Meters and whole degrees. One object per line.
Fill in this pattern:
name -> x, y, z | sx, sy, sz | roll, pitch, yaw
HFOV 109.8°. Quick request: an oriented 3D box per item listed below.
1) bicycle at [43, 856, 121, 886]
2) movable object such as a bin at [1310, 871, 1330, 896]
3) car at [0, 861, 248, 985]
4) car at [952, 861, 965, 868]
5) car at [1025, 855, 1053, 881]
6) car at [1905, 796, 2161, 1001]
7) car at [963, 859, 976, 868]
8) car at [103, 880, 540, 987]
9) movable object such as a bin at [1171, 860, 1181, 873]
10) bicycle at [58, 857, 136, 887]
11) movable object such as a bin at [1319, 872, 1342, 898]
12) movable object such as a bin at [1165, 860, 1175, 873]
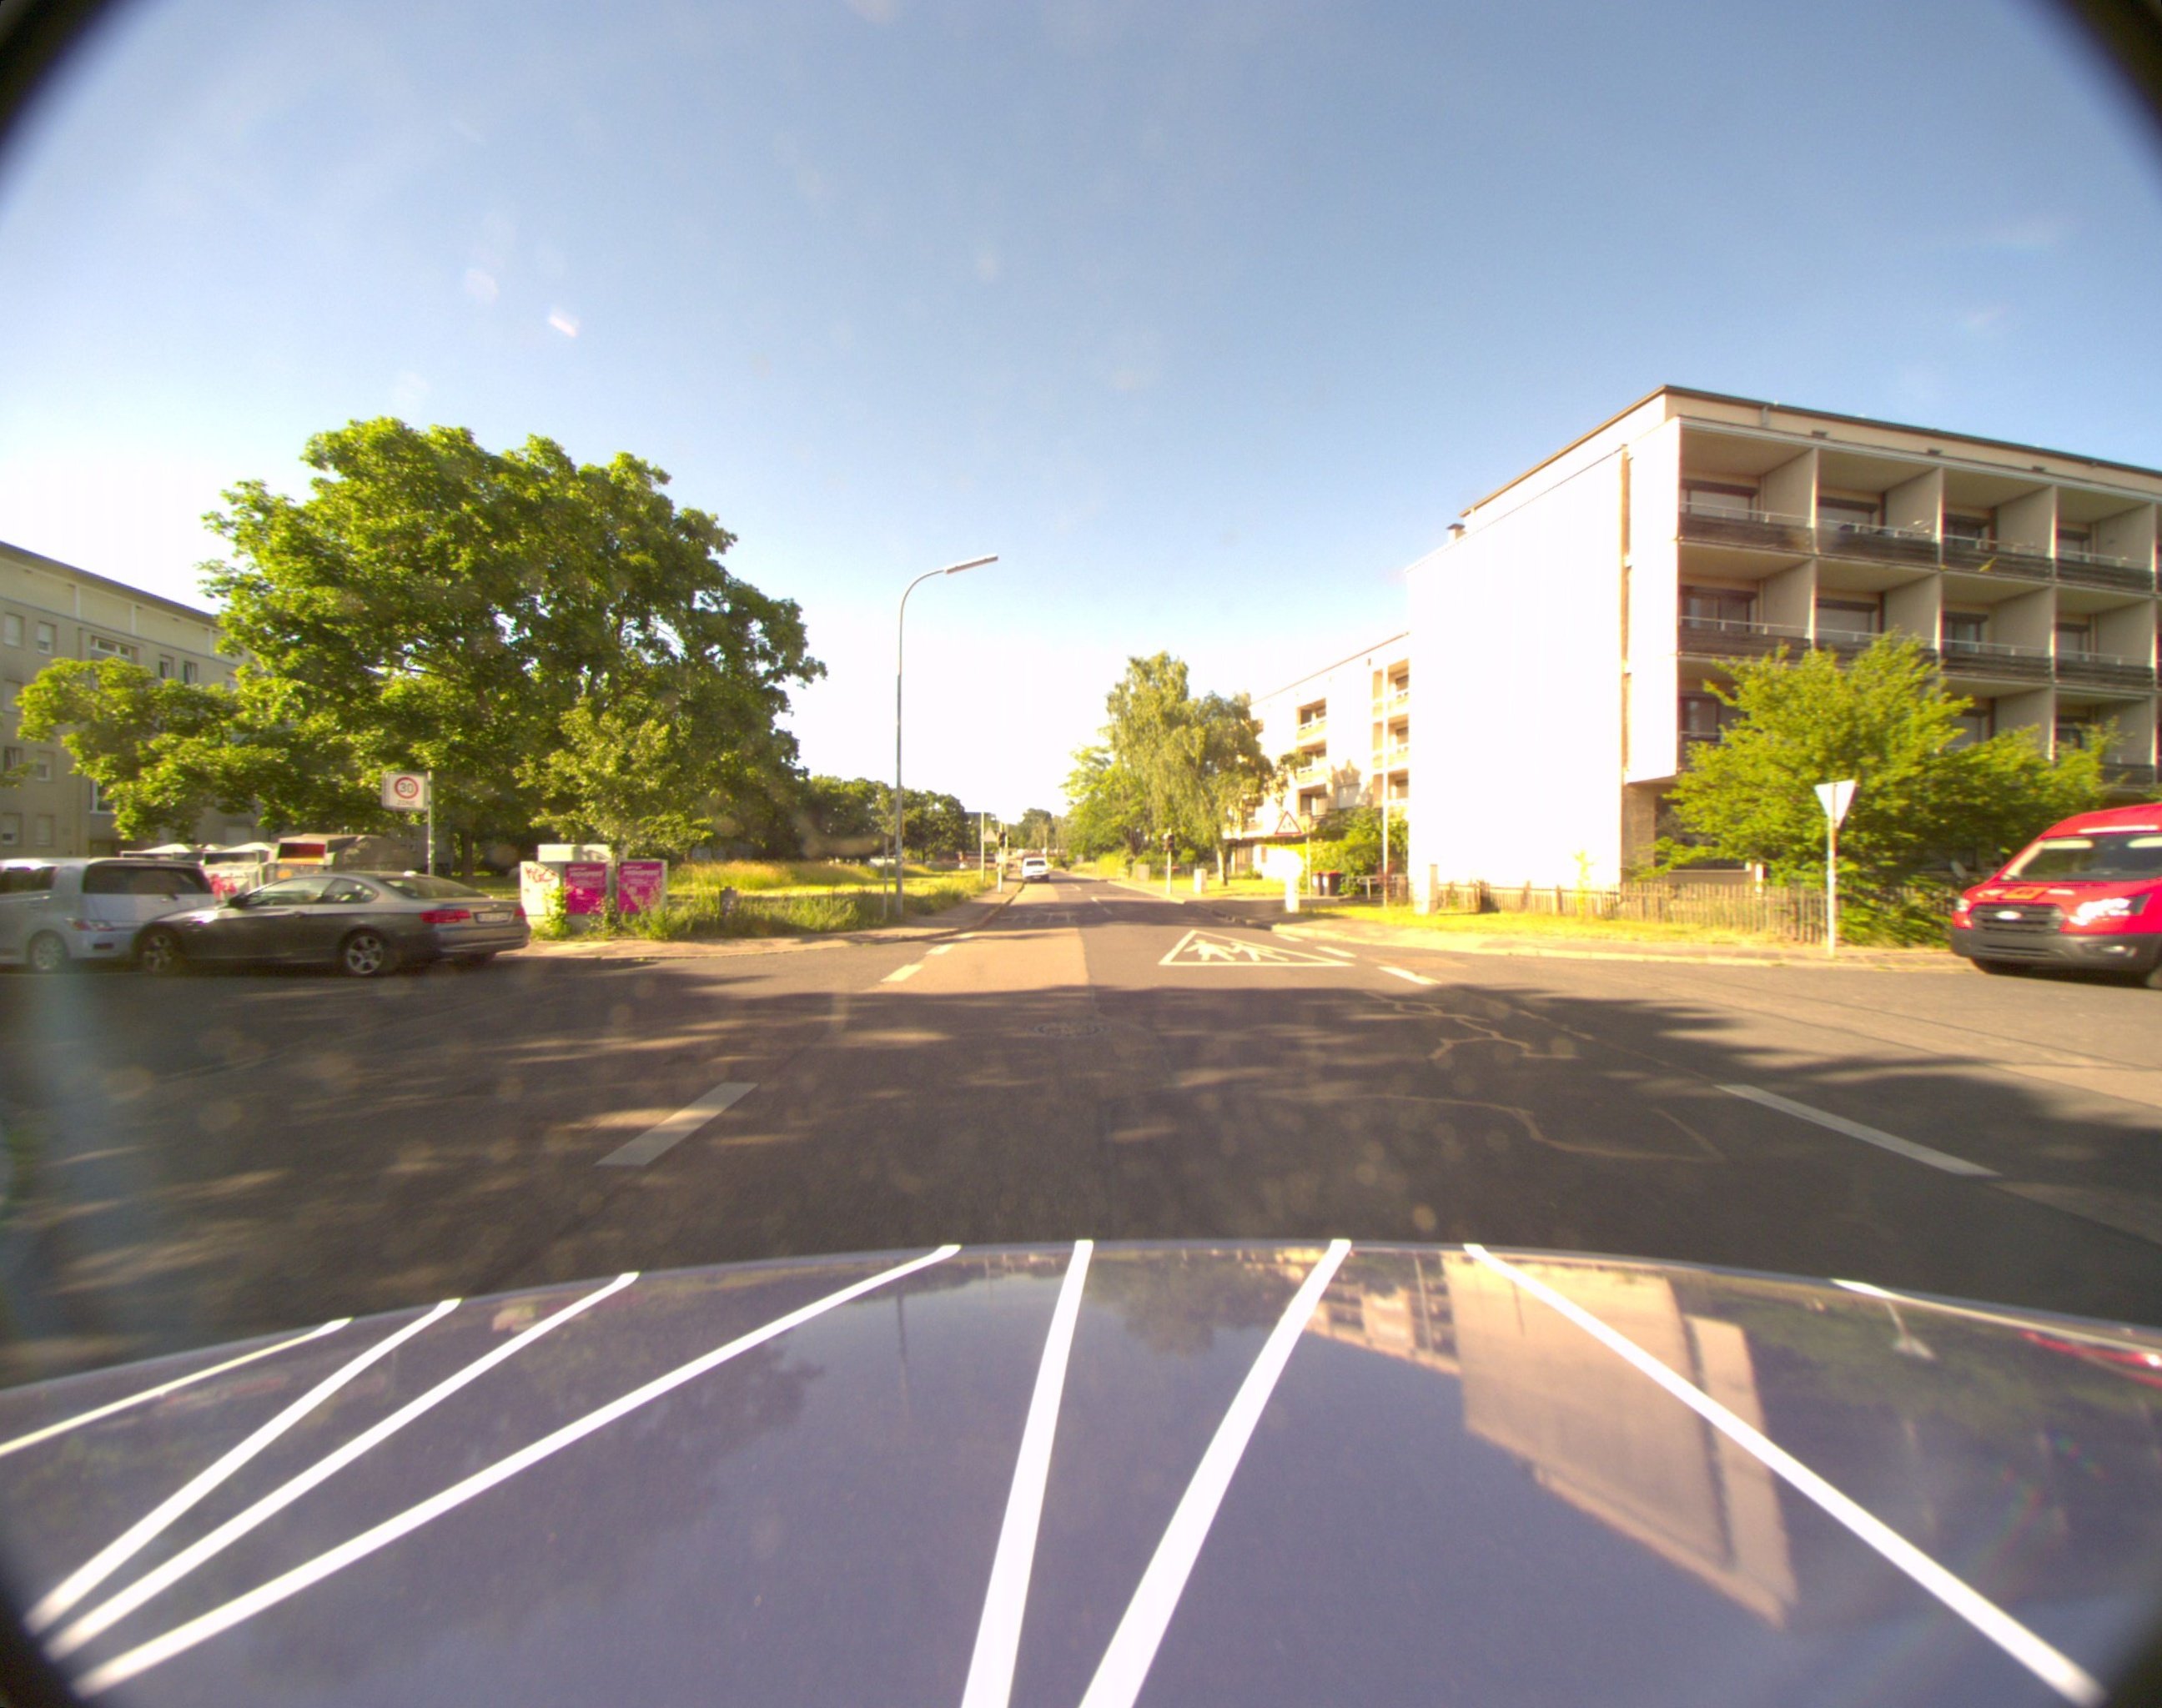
bicycle -> -42.457, 0.694, 32.339 | 0.942, 1.197, 2.690 | 1, 0, -27
movable object such as a bin -> 10.240, 1.255, 32.533 | 0.565, 1.047, 0.556 | 0, 0, -23
car -> -14.656, 0.898, 10.889 | 3.691, 1.568, 1.829 | 0, 0, 7
car -> -26.385, 2.275, 163.621 | 1.779, 1.316, 4.002 | 1, -1, 5
car -> -3.205, 1.017, 57.067 | 1.921, 1.860, 4.863 | -1, 0, -4
car -> 15.126, 0.613, 10.168 | 5.920, 2.414, 2.213 | 1, -2, -2
car -> -23.999, 2.091, 163.481 | 1.955, 1.849, 4.001 | 1, 0, 3
car -> -10.261, 1.035, 10.481 | 4.435, 1.329, 1.747 | 0, -2, 4
movable object such as a bin -> 7.558, 1.025, 60.524 | 0.623, 1.018, 0.710 | 1, 0, -8
bicycle -> -41.246, 0.717, 31.914 | 0.942, 1.197, 2.690 | 1, 0, -27
movable object such as a bin -> 10.481, 1.291, 31.938 | 0.629, 1.042, 0.701 | 0, 0, -25
movable object such as a bin -> 7.048, 1.008, 60.429 | 0.623, 1.018, 0.710 | 1, 0, -8
